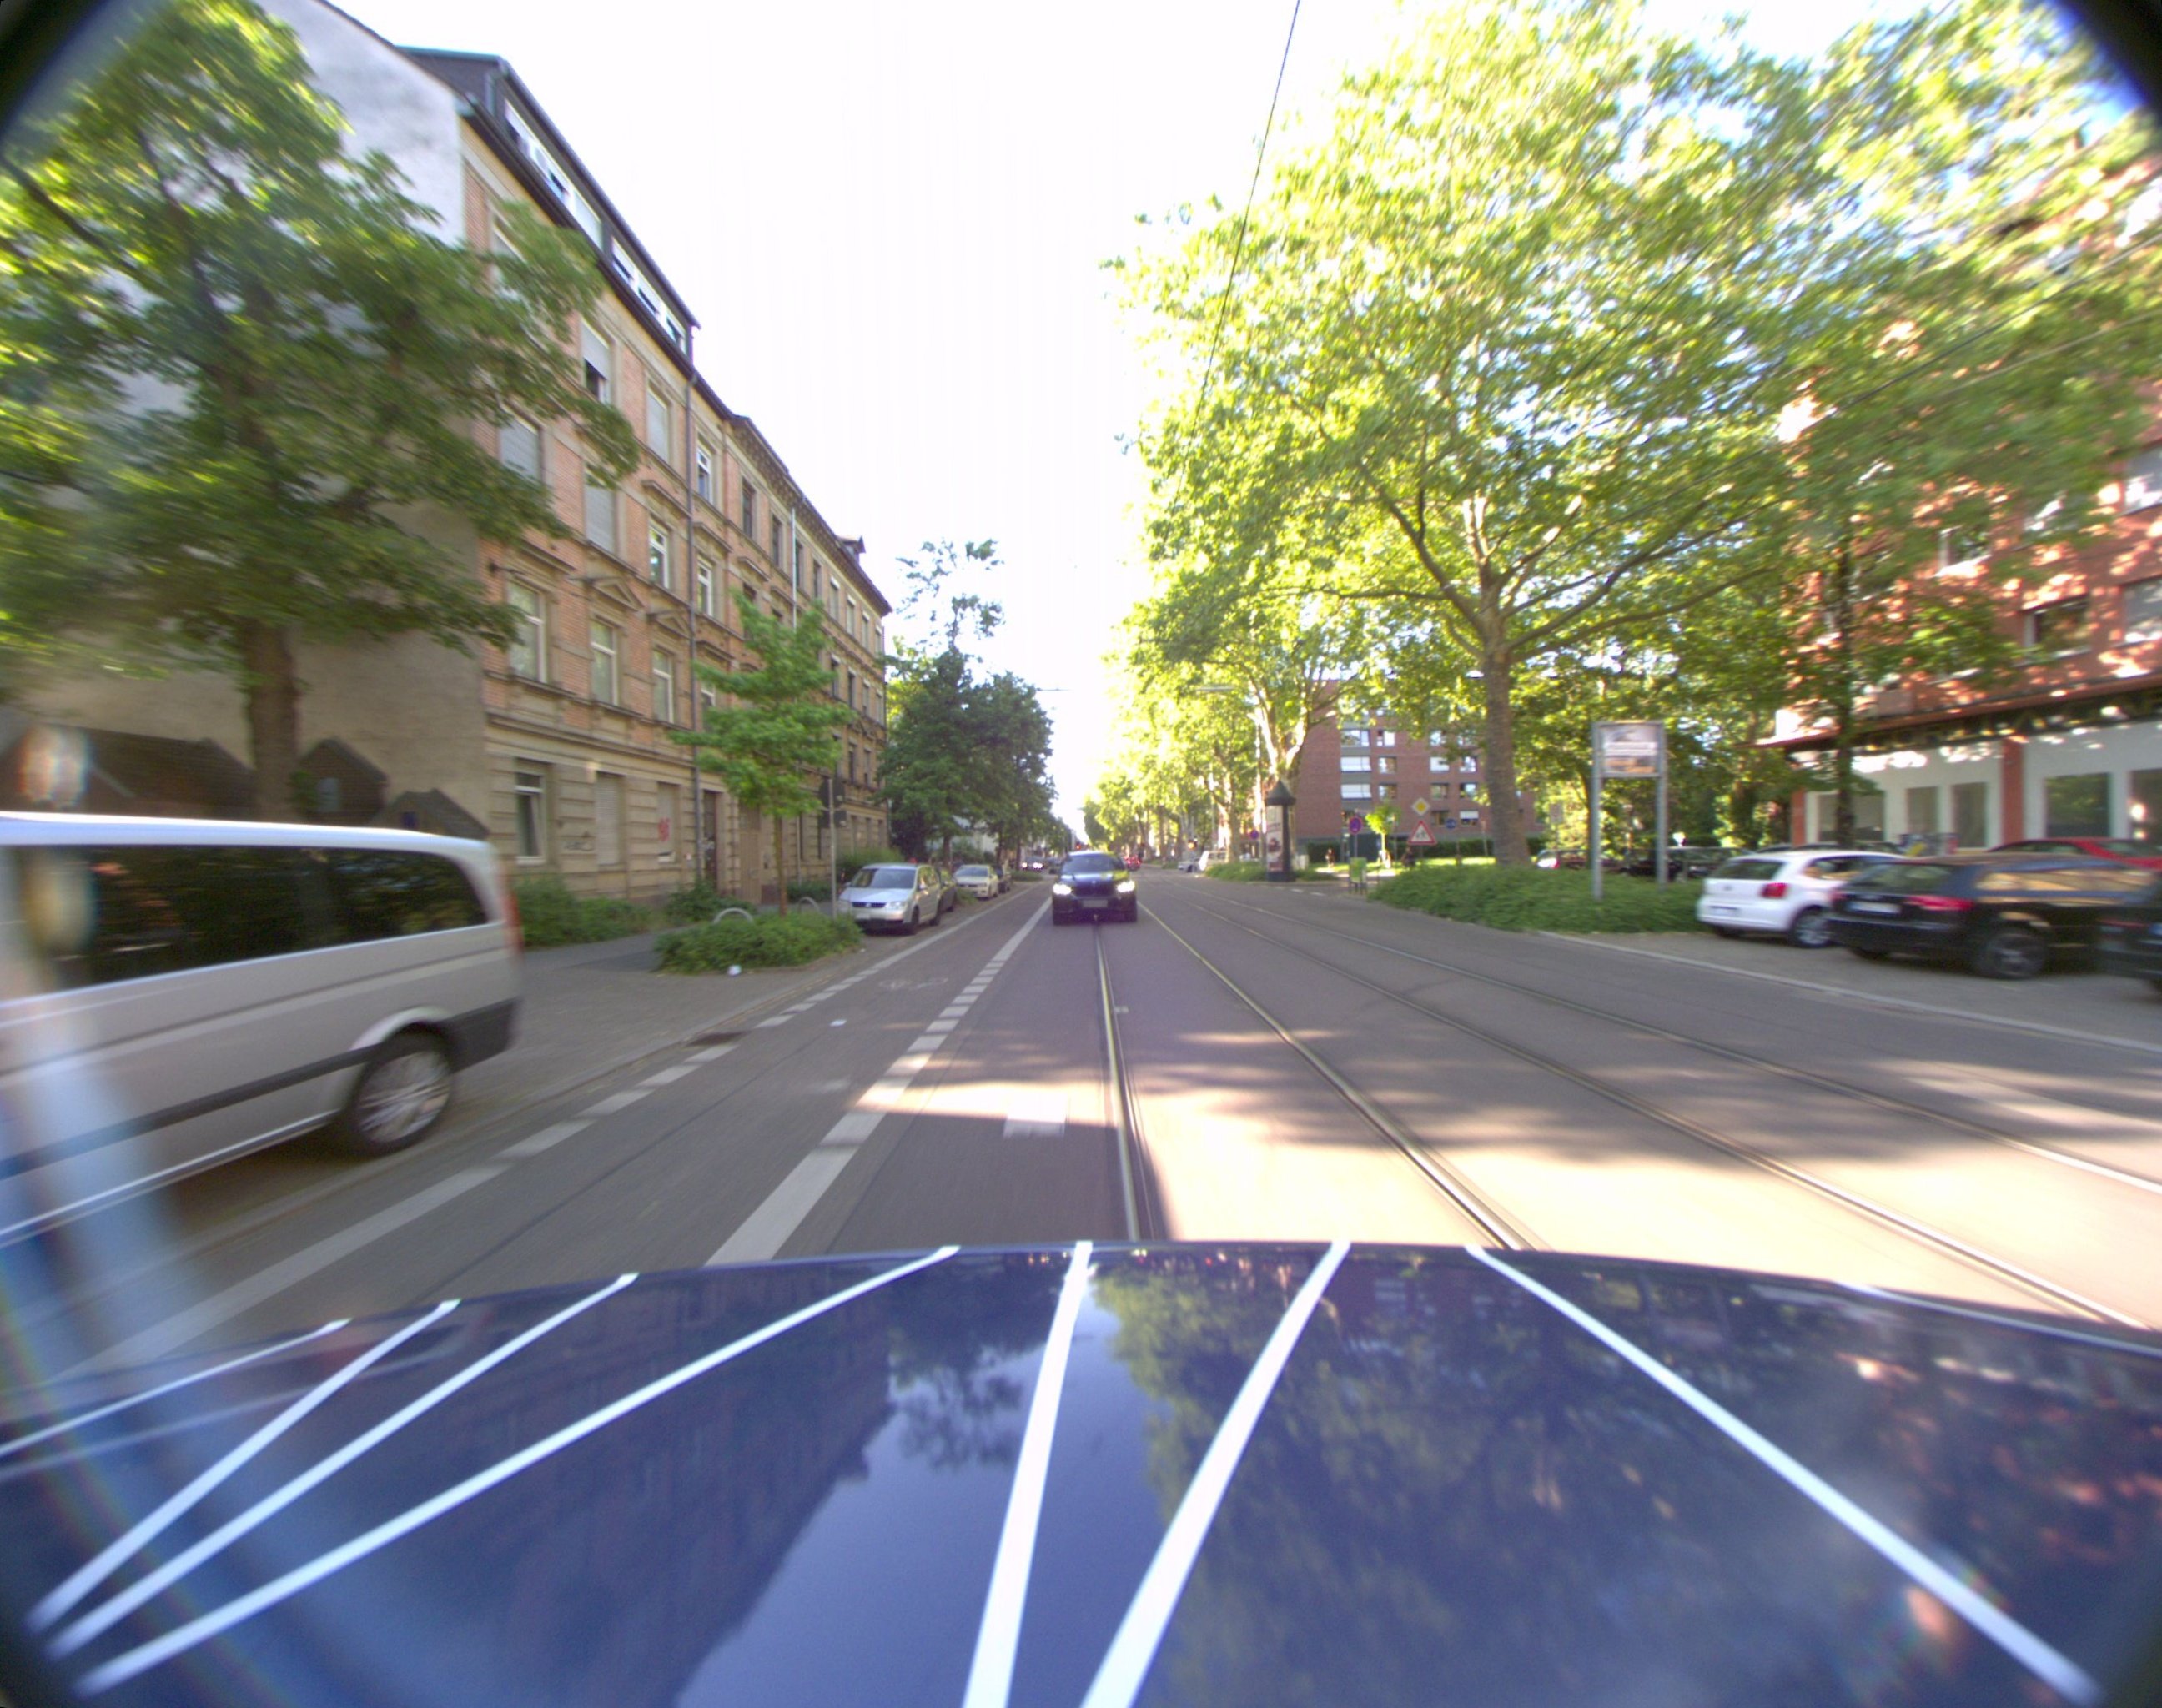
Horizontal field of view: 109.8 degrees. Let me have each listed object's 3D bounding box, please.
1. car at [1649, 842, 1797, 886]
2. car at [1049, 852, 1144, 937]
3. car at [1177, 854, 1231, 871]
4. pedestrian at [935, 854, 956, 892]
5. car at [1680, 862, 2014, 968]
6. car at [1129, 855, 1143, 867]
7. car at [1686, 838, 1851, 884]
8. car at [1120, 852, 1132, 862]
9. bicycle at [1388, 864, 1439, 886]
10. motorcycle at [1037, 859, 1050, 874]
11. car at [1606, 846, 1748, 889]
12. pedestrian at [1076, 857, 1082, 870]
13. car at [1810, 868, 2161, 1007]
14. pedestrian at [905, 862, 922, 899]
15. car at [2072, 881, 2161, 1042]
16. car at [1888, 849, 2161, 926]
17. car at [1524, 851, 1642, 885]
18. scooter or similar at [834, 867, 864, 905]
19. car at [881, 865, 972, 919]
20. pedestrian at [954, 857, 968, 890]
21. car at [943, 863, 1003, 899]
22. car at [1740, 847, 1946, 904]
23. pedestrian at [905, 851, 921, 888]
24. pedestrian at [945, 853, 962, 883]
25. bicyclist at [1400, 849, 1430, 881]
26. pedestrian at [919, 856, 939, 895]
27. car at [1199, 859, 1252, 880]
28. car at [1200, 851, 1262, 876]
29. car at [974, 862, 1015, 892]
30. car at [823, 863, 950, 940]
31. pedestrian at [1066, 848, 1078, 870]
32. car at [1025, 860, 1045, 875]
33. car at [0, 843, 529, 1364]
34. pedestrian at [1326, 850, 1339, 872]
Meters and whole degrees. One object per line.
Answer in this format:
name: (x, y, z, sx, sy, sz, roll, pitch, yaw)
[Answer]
car: (24.344, 0.354, 29.033, 2.000, 1.517, 3.997, -2, 0, -8)
car: (0.378, 0.848, 18.458, 1.937, 1.718, 5.073, -2, 0, 1)
car: (11.665, 0.835, 72.433, 4.776, 1.452, 1.955, -2, 0, -1)
pedestrian: (-6.110, 0.849, 34.366, 0.728, 1.683, 0.957, -2, 0, 0)
car: (11.821, 0.903, 11.924, 3.427, 1.456, 1.697, -2, 0, 3)
car: (7.193, 0.891, 99.259, 1.665, 1.435, 3.473, -2, 0, 1)
car: (26.565, 0.271, 29.604, 2.000, 1.608, 4.555, -2, 0, -7)
car: (7.203, 0.482, 121.799, 1.820, 1.559, 4.116, 1, 0, 1)
bicycle: (15.904, 0.988, 36.429, 0.971, 0.993, 2.581, -2, 0, -9)
motorcycle: (-3.784, 1.296, 76.997, 1.054, 1.446, 2.208, -2, 0, 1)
car: (22.245, 0.479, 28.569, 1.818, 1.484, 3.997, -2, 0, -9)
pedestrian: (-0.307, 1.253, 99.202, 0.690, 1.745, 0.580, -2, 1, -5)
car: (11.666, 0.960, 9.386, 3.610, 1.456, 1.687, -2, 0, 3)
pedestrian: (-8.145, 1.282, 36.954, 0.600, 1.782, 0.728, -2, 1, -2)
car: (12.094, 0.974, 6.727, 4.092, 1.456, 1.821, -2, 0, 3)
car: (21.123, 0.654, 16.979, 1.952, 1.478, 4.000, -2, 0, 1)
car: (24.151, 0.668, 36.637, 4.540, 1.480, 1.859, -2, 0, -5)
scooter or similar: (-8.130, 1.104, 26.641, 0.577, 1.239, 1.335, -2, 0, 2)
car: (-4.842, 1.143, 24.476, 1.888, 1.458, 4.594, 2, 0, 1)
pedestrian: (-6.708, 1.071, 42.418, 0.728, 1.782, 0.600, -2, 1, -7)
car: (-4.545, 1.105, 32.582, 1.888, 1.360, 4.107, 2, 0, 1)
car: (21.217, 0.548, 21.424, 1.952, 1.399, 3.893, -2, 0, 1)
pedestrian: (-8.035, 0.734, 36.382, 0.600, 1.782, 0.728, -2, 1, -4)
pedestrian: (-7.727, 0.821, 46.058, 0.727, 1.782, 0.969, 1, 0, 12)
bicyclist: (15.925, 0.519, 36.276, 0.802, 1.498, 1.116, -2, 0, -10)
pedestrian: (-6.907, 0.972, 34.558, 0.728, 1.699, 0.856, -2, 0, -3)
car: (12.257, 1.284, 64.586, 4.150, 1.637, 1.902, -2, 0, -1)
car: (12.079, 0.763, 61.416, 4.582, 1.823, 1.938, -2, 0, -1)
car: (-4.386, 1.148, 39.107, 1.677, 1.404, 3.842, 2, 0, -1)
car: (-4.540, 1.047, 18.411, 1.888, 1.559, 4.242, 2, 0, 1)
pedestrian: (-0.814, 0.430, 67.862, 0.870, 1.874, 0.996, -2, 0, -16)
car: (-5.034, 1.449, 83.856, 1.766, 1.612, 4.443, 1, -1, 2)
car: (-4.811, 0.890, 2.771, 1.888, 1.840, 4.967, 2, 0, 1)
pedestrian: (19.136, 0.525, 57.814, 0.711, 1.663, 0.779, -2, 0, 1)
